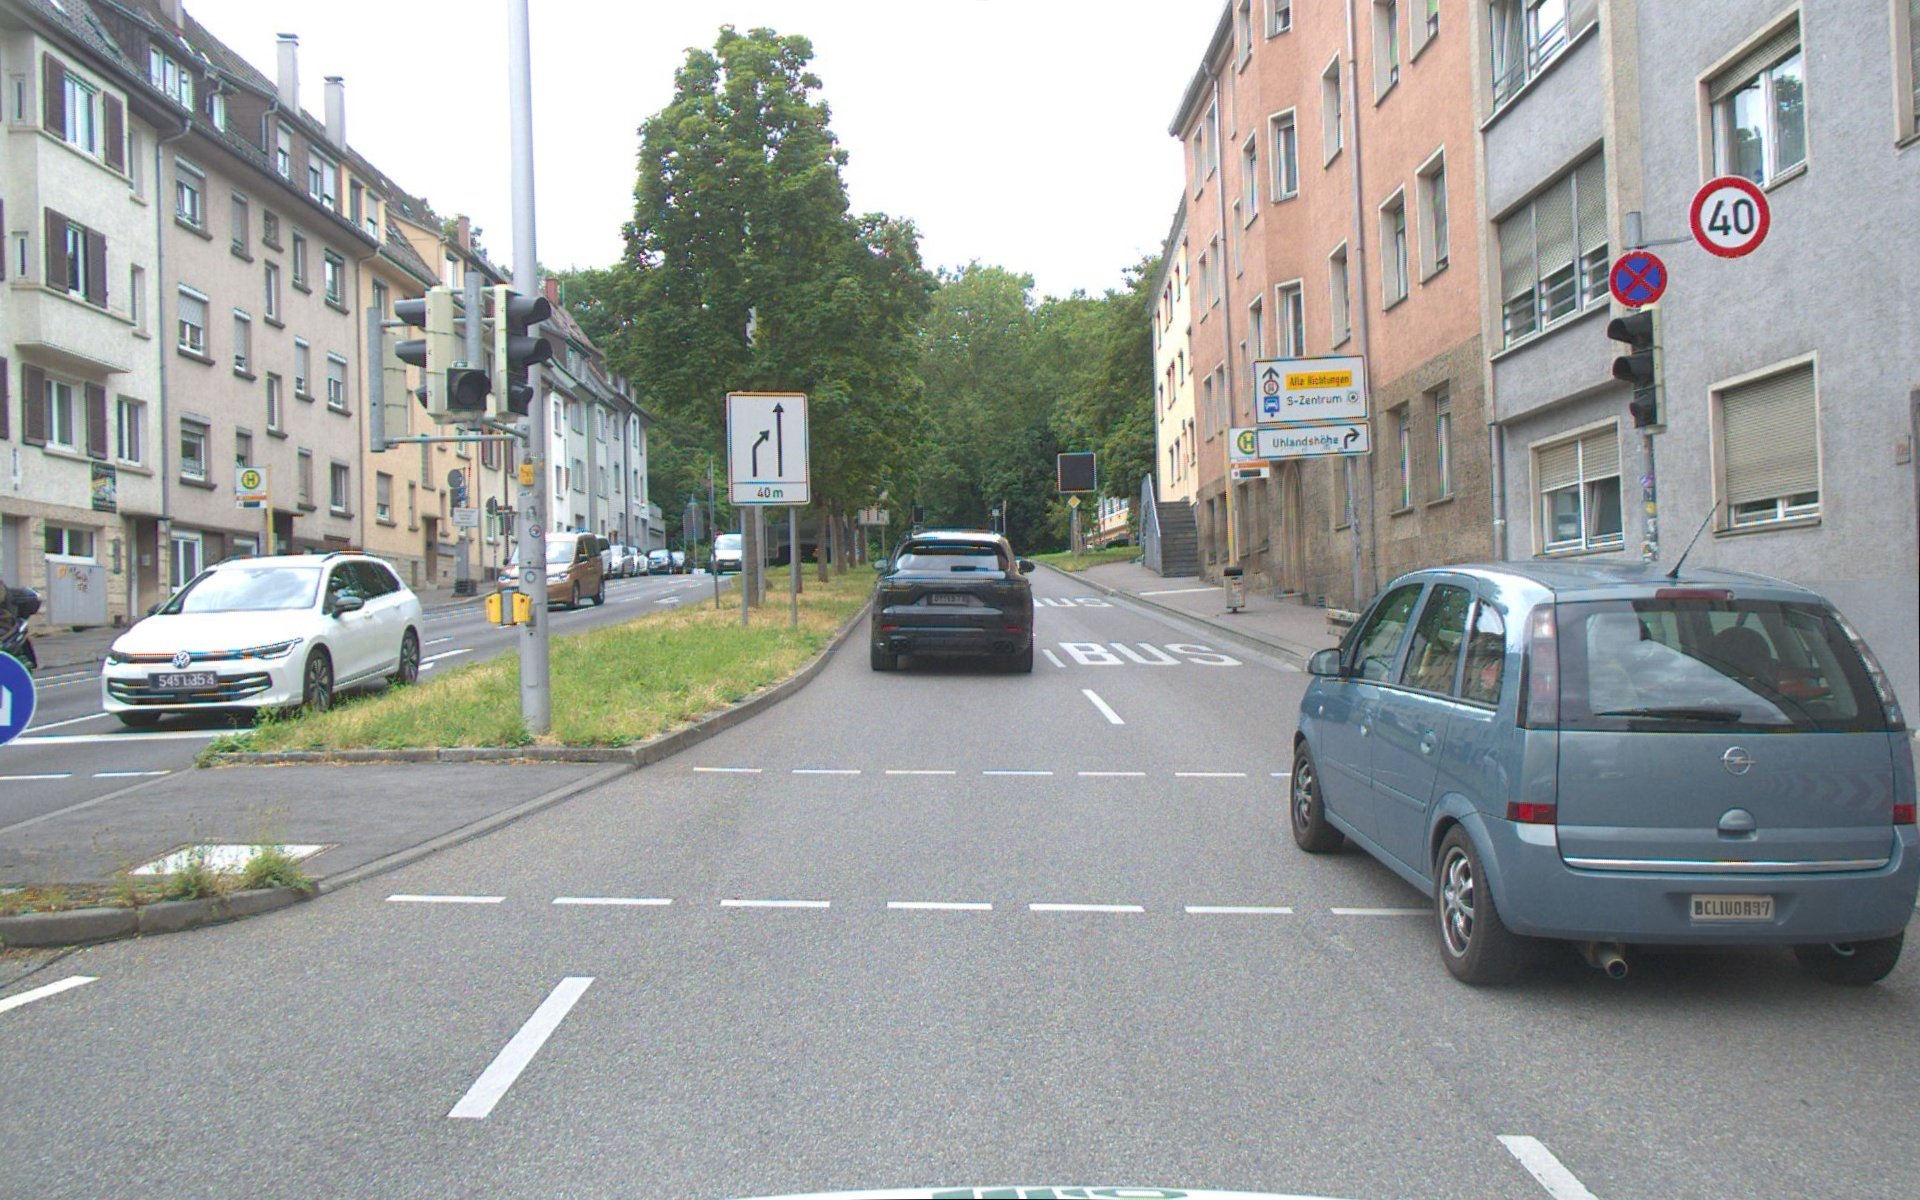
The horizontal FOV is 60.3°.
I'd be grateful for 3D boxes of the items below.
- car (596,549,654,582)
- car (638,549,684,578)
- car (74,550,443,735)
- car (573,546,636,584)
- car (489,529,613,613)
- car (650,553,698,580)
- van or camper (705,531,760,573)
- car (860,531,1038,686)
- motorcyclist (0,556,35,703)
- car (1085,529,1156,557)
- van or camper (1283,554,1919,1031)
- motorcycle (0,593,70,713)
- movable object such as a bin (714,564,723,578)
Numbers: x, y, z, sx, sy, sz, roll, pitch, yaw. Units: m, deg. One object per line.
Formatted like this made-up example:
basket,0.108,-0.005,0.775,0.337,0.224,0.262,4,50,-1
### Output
car,-16.313,-1.716,80.704,1.953,1.500,4.158,-2,2,0
car,-16.223,-2.000,89.939,1.954,1.447,4.208,-2,2,-4
car,-6.618,0.285,16.219,1.710,1.492,4.585,-2,2,-1
car,-16.128,-1.609,75.247,1.953,1.579,4.381,-2,2,-2
car,-9.726,-0.747,39.650,1.841,1.847,4.353,-1,3,0
car,-16.455,-1.930,95.304,1.953,1.425,4.518,-2,1,0
van or camper,-10.278,-2.196,75.004,1.869,1.792,4.655,-1,2,0
car,-0.098,0.049,20.786,1.952,1.682,4.001,-2,1,1
motorcyclist,-10.127,0.302,17.159,0.659,1.501,0.662,-1,1,0
car,9.137,-3.242,94.105,1.966,1.442,3.974,-1,3,44
van or camper,2.719,0.622,7.544,1.700,1.605,3.646,1,2,-1
motorcycle,-10.088,0.553,17.101,0.533,1.205,2.205,-1,1,1
movable object such as a bin,-16.352,-1.965,112.085,0.507,0.984,0.442,2,-1,-16
